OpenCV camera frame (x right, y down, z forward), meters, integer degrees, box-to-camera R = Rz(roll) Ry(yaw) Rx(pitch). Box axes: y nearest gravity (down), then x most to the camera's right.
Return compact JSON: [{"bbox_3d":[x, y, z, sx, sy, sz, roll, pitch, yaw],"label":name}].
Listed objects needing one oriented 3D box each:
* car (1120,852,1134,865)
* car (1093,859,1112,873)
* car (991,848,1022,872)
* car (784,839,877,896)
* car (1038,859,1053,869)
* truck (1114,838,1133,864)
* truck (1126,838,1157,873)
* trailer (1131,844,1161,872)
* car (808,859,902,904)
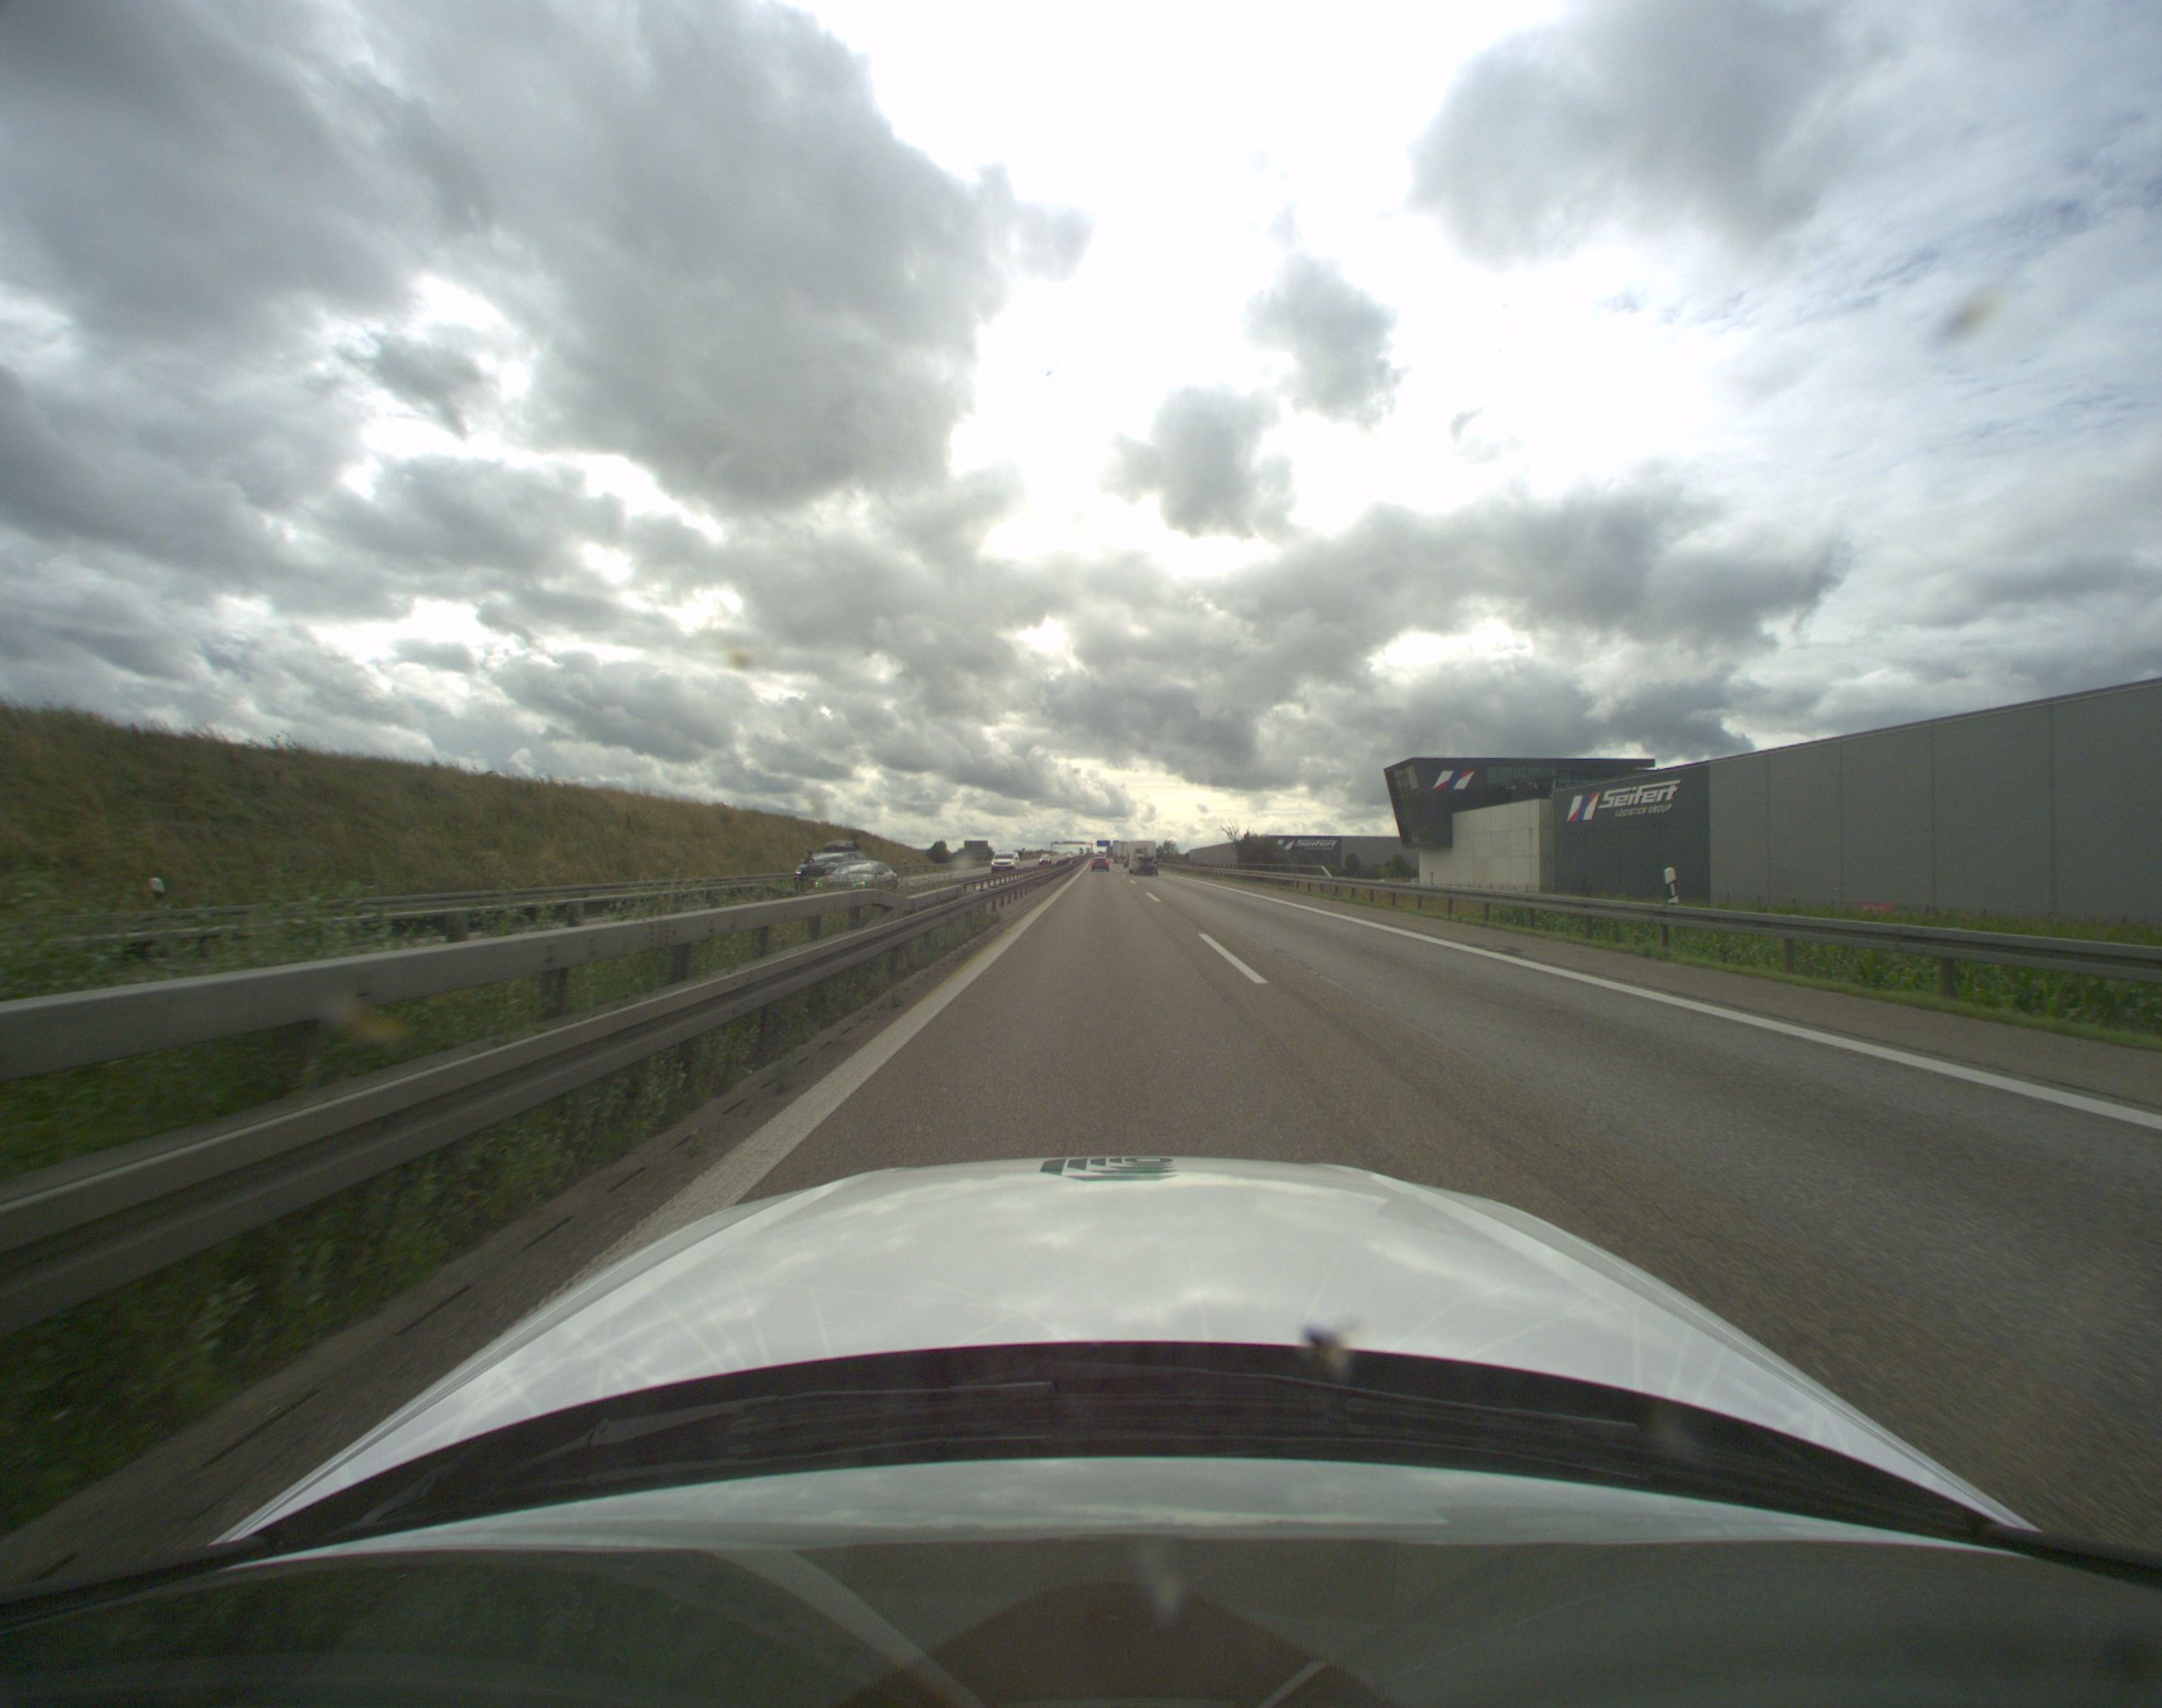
[{"bbox_3d":[6.083,0.597,106.997,1.793,1.685,4.003,0,-1,3],"label":"car"},{"bbox_3d":[2.181,1.227,83.058,1.738,1.453,4.004,0,-1,4],"label":"car"},{"bbox_3d":[-6.028,0.520,66.421,1.821,1.885,5.420,0,-1,2],"label":"car"},{"bbox_3d":[-10.494,0.567,34.680,1.986,2.242,5.720,0,-1,2],"label":"car"},{"bbox_3d":[-5.277,1.506,121.168,1.834,1.576,4.001,0,-1,2],"label":"car"},{"bbox_3d":[7.827,-0.506,150.646,3.327,4.534,8.019,0,-1,2],"label":"truck"},{"bbox_3d":[5.349,0.188,72.705,2.472,2.950,5.817,0,-1,2],"label":"truck"},{"bbox_3d":[5.224,0.356,65.572,2.328,2.136,4.004,0,-1,4],"label":"trailer"},{"bbox_3d":[-7.455,0.887,27.349,1.804,1.402,4.407,0,-1,2],"label":"car"}]
